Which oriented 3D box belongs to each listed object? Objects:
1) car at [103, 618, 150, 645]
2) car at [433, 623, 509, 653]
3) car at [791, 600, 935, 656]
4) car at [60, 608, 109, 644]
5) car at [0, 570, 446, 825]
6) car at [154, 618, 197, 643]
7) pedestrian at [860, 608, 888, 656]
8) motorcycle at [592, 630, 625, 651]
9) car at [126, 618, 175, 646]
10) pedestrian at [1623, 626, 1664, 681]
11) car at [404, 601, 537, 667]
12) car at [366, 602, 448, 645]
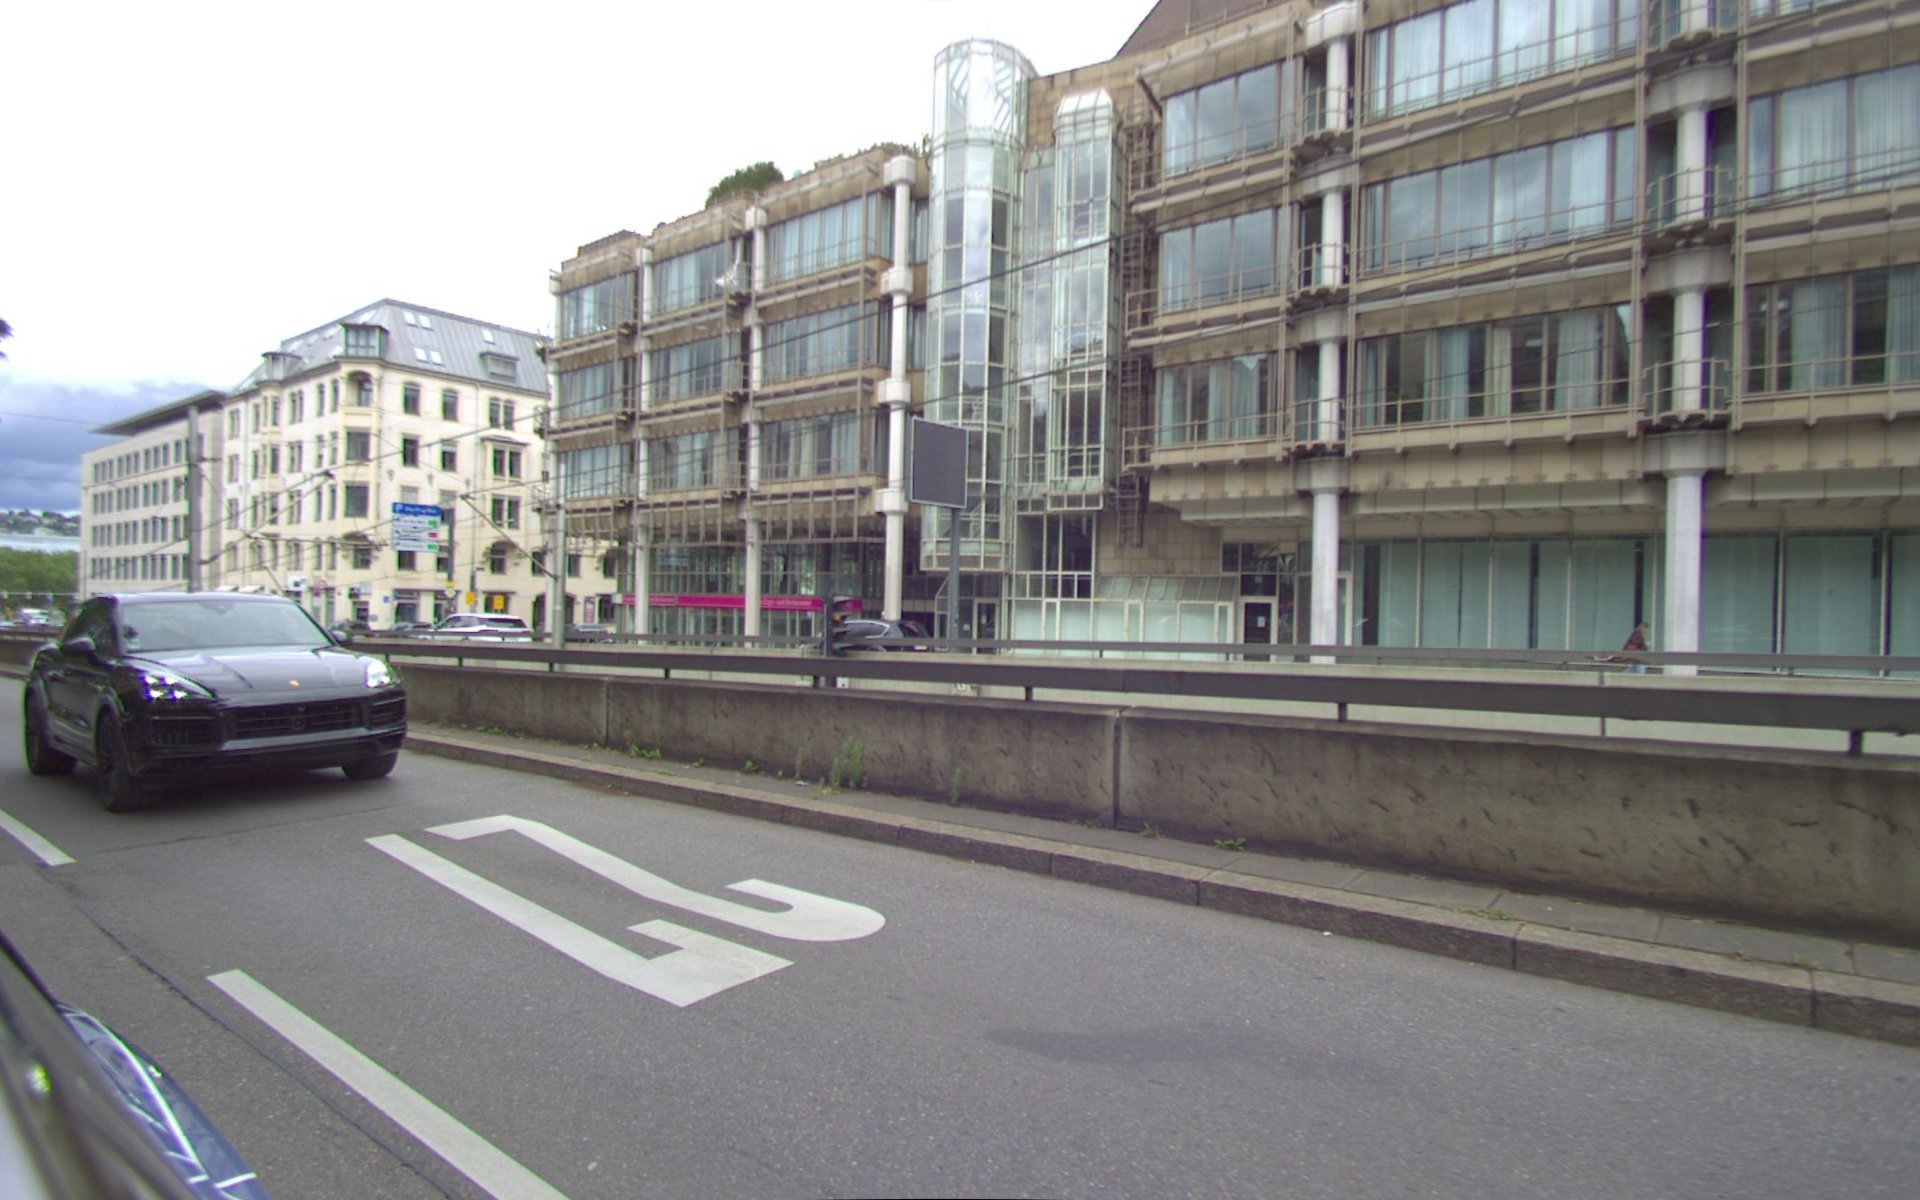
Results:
[{"bbox_3d":[-67.129,2.483,81.480,4.785,2.029,1.974,-1,0,39],"label":"car"},{"bbox_3d":[-28.269,2.182,58.556,1.647,1.674,3.606,-1,-2,36],"label":"car"},{"bbox_3d":[-2.909,0.811,29.660,4.410,1.512,1.647,-1,-2,41],"label":"car"},{"bbox_3d":[-78.157,2.315,90.304,5.463,3.083,2.341,-1,0,39],"label":"car"},{"bbox_3d":[-6.950,0.679,9.202,5.346,1.688,2.062,-1,-1,39],"label":"car"},{"bbox_3d":[-66.141,2.582,85.351,3.995,2.029,1.974,-1,-2,39],"label":"car"},{"bbox_3d":[-3.248,1.208,38.368,0.739,1.806,0.723,-1,0,40],"label":"pedestrian"},{"bbox_3d":[-19.328,2.218,55.701,1.660,1.083,0.640,-1,0,19],"label":"motorcycle"},{"bbox_3d":[-62.111,2.422,77.624,4.785,2.029,1.974,-1,0,39],"label":"car"},{"bbox_3d":[16.517,1.270,24.465,0.739,1.275,0.723,-1,0,40],"label":"pedestrian"},{"bbox_3d":[-15.566,1.026,32.129,4.596,1.856,1.817,-1,2,37],"label":"car"},{"bbox_3d":[-26.610,1.079,48.636,4.374,1.929,1.974,0,1,39],"label":"car"}]
